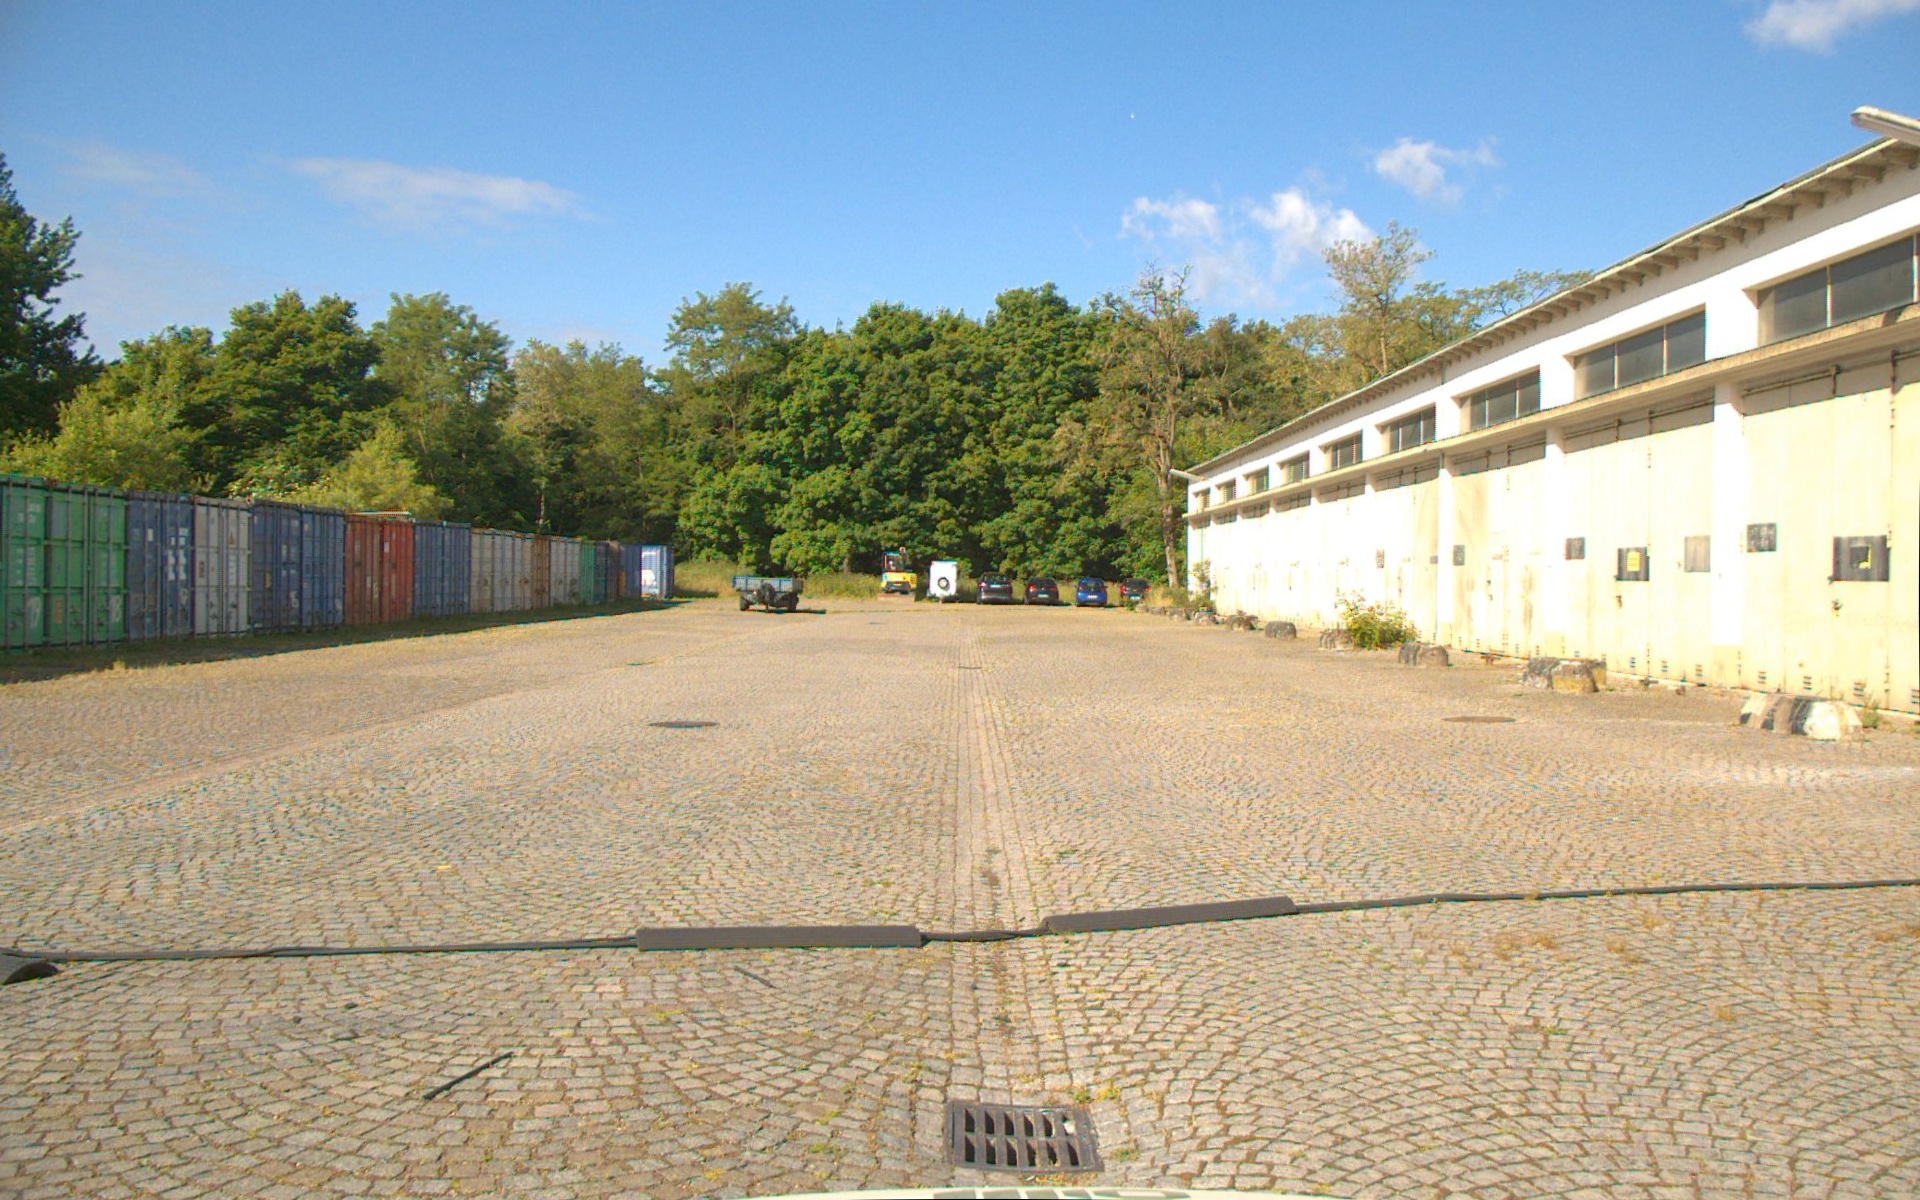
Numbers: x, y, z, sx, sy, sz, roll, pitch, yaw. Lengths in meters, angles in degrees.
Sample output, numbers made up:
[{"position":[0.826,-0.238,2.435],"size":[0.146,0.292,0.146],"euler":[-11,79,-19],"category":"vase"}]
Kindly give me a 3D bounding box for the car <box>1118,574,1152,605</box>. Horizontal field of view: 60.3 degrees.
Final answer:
[{"position":[9.308,-0.582,87.796],"size":[1.707,1.461,4.187],"euler":[2,2,7],"category":"car"}]

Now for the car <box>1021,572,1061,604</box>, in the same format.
[{"position":[4.194,-0.641,86.427],"size":[1.825,1.495,4.296],"euler":[2,2,0],"category":"car"}]

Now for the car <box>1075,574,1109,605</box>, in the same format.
[{"position":[6.904,-0.553,86.378],"size":[1.707,1.461,4.186],"euler":[2,2,5],"category":"car"}]

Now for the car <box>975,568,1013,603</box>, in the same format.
[{"position":[1.756,-0.766,86.047],"size":[1.825,1.616,4.296],"euler":[2,2,0],"category":"car"}]

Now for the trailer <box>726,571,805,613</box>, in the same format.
[{"position":[-7.960,-0.373,68.297],"size":[2.651,1.491,6.246],"euler":[2,2,-2],"category":"trailer"}]

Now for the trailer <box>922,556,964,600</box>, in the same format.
[{"position":[-0.888,-1.223,88.409],"size":[2.148,2.131,5.752],"euler":[2,2,0],"category":"trailer"}]

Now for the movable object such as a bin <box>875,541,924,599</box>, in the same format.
[{"position":[-3.214,-1.667,88.988],"size":[2.259,2.946,5.752],"euler":[2,2,1],"category":"movable object such as a bin"}]
